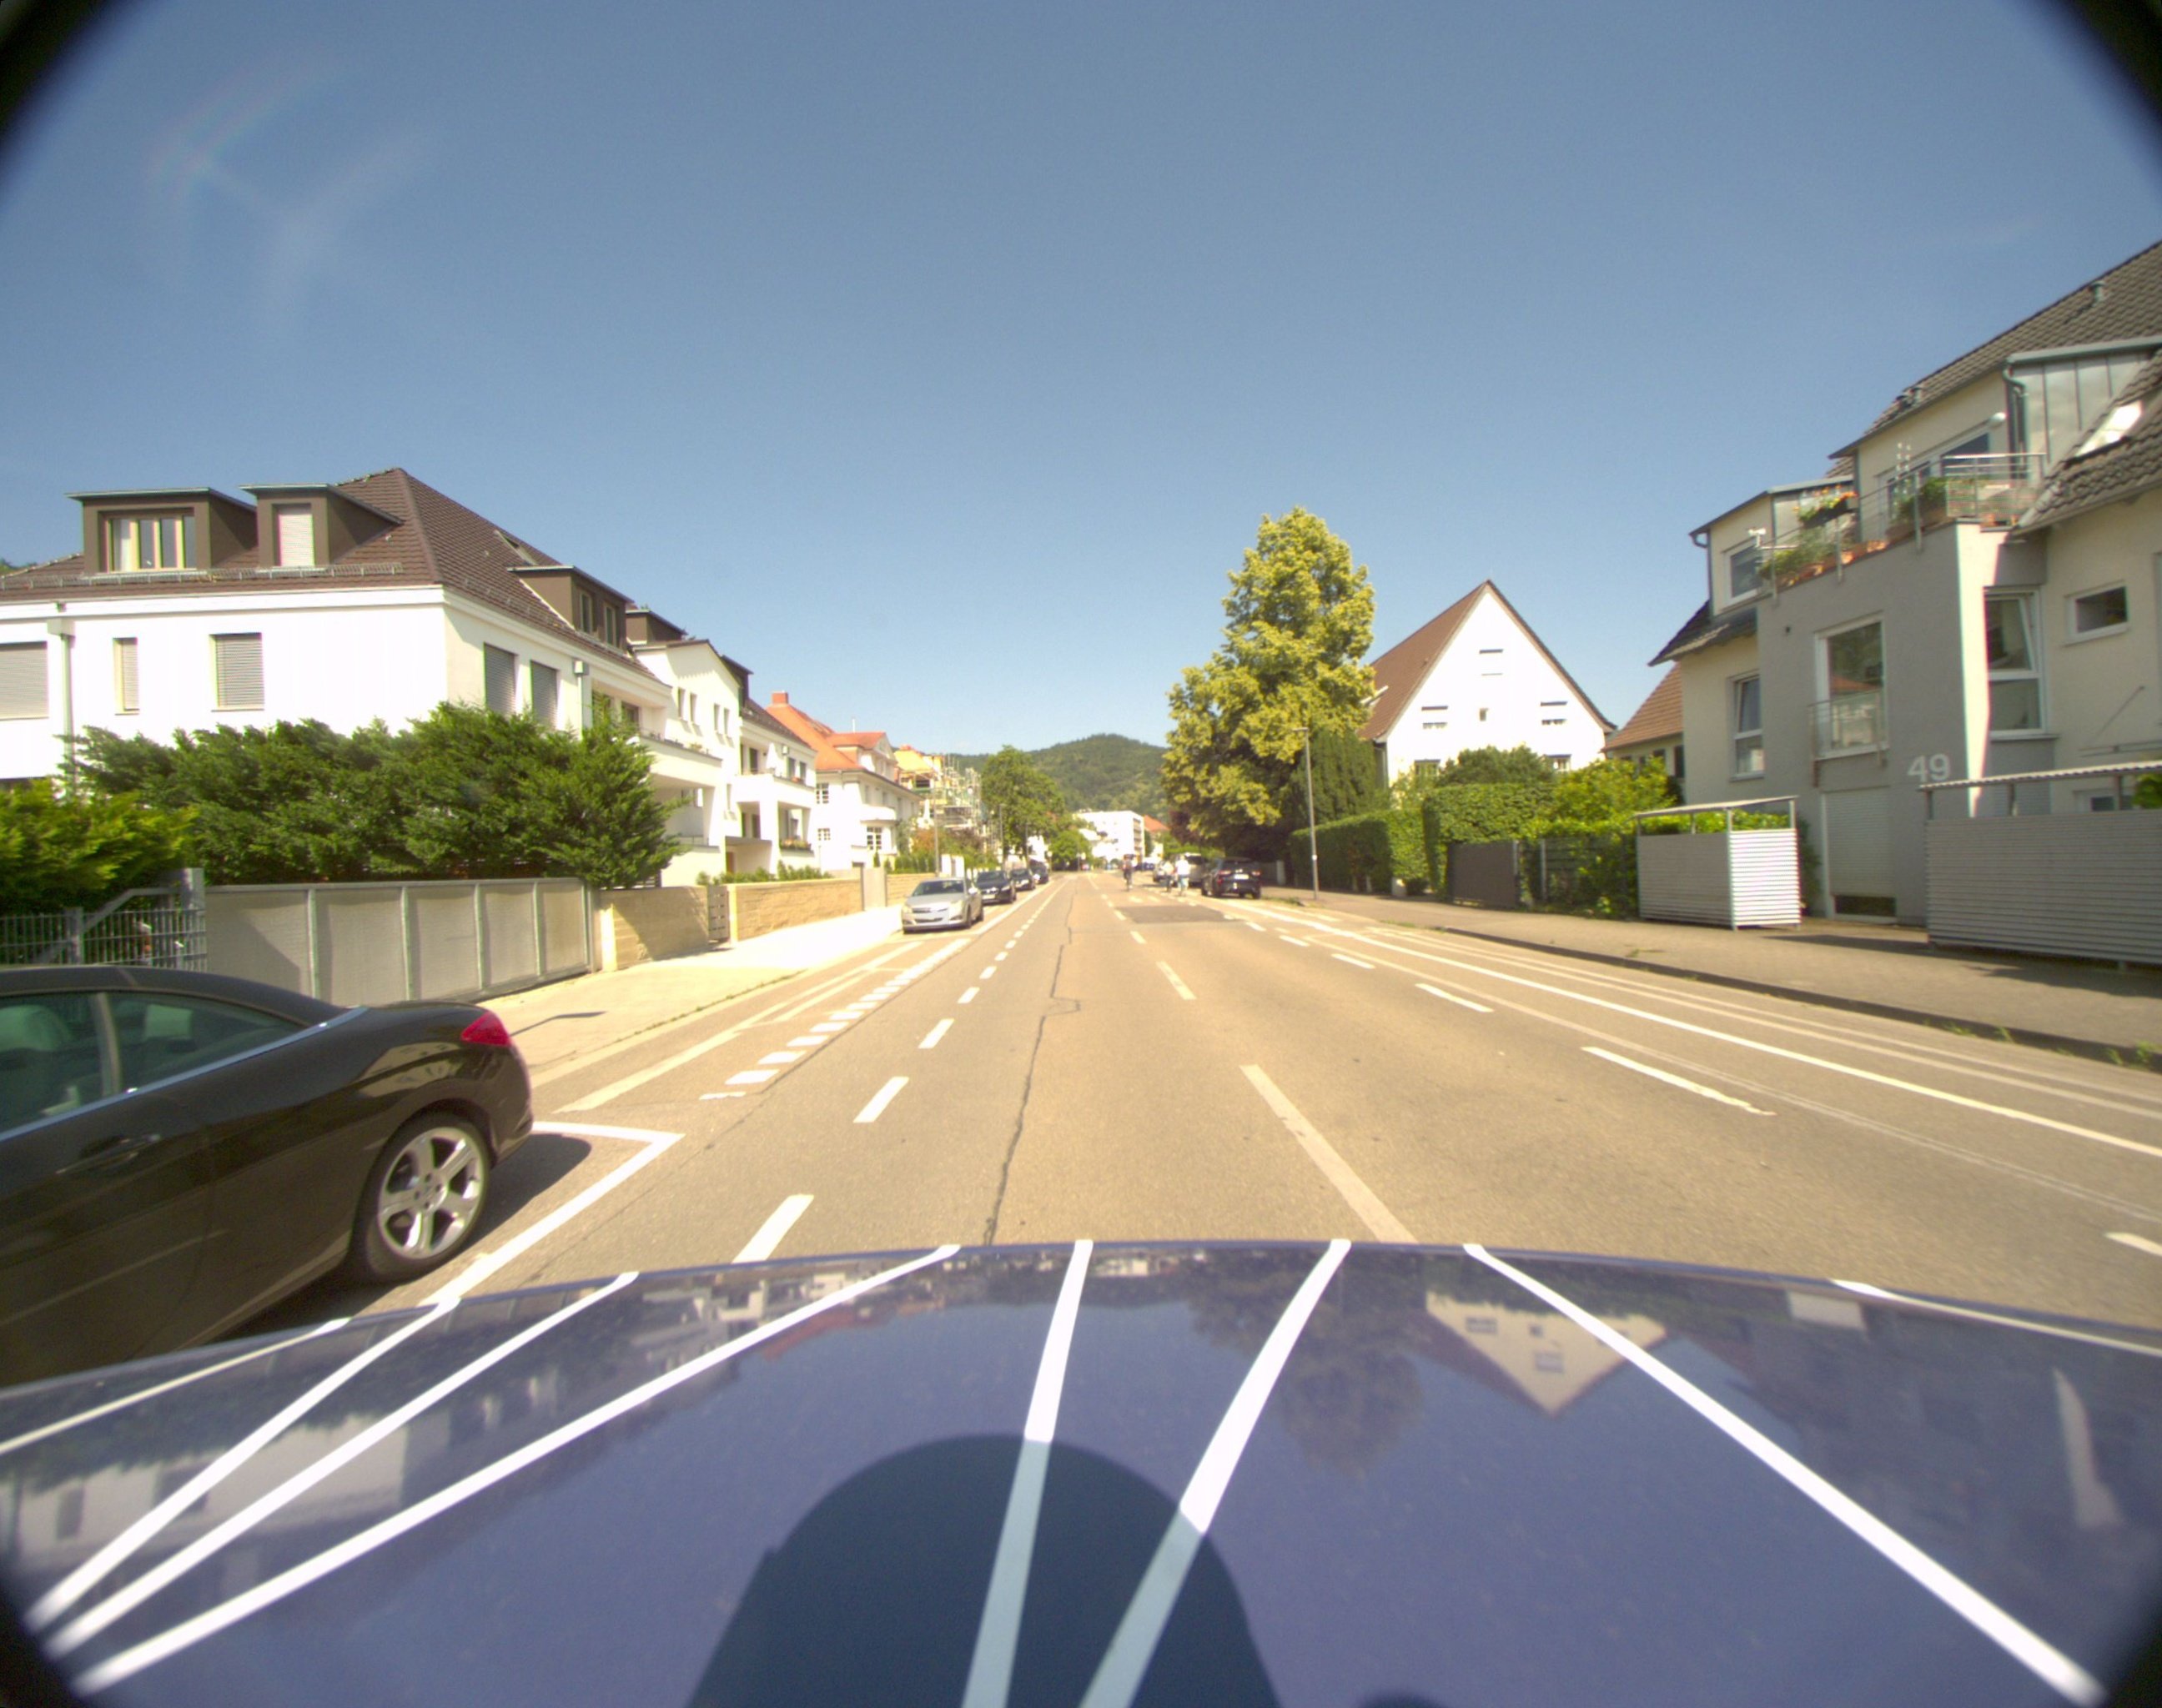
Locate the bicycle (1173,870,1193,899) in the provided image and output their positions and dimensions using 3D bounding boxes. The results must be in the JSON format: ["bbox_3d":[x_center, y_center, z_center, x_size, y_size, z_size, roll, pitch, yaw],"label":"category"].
[{"bbox_3d":[4.308,1.269,32.275,0.560,1.178,2.036,0,0,0],"label":"bicycle"}]

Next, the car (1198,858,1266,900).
[{"bbox_3d":[6.102,0.980,31.183,1.855,1.601,4.448,0,0,-1],"label":"car"}]

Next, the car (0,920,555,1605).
[{"bbox_3d":[-3.501,1.141,1.575,1.741,1.460,4.344,-5,0,-1],"label":"car"}]

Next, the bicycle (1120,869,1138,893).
[{"bbox_3d":[2.434,1.386,39.024,0.784,1.159,2.420,0,0,0],"label":"bicycle"}]

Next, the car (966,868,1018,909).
[{"bbox_3d":[-3.697,1.400,32.210,1.727,1.440,4.168,-5,0,-2],"label":"car"}]

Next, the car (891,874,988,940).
[{"bbox_3d":[-3.706,1.344,20.611,1.741,1.321,4.075,-5,1,0],"label":"car"}]

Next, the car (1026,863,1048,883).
[{"bbox_3d":[-3.617,1.531,62.557,1.701,1.573,4.900,-3,0,-3],"label":"car"}]

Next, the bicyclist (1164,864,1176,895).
[{"bbox_3d":[4.259,1.223,36.487,0.491,1.445,0.964,0,0,0],"label":"bicyclist"}]

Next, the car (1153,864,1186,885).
[{"bbox_3d":[6.269,1.445,54.521,1.838,1.476,4.562,0,-1,0],"label":"car"}]

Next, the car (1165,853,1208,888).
[{"bbox_3d":[6.089,0.963,44.373,1.889,1.908,4.869,0,-1,0],"label":"car"}]

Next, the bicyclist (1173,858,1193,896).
[{"bbox_3d":[4.276,0.948,31.962,0.677,1.571,0.859,2,0,0],"label":"bicyclist"}]

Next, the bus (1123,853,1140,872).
[{"bbox_3d":[8.783,1.474,131.779,2.751,3.155,9.782,0,-1,4],"label":"bus"}]

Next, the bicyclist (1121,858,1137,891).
[{"bbox_3d":[2.448,1.035,39.049,0.751,1.658,1.022,0,0,0],"label":"bicyclist"}]

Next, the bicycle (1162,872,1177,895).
[{"bbox_3d":[4.247,1.412,36.548,0.602,1.098,1.346,0,0,0],"label":"bicycle"}]

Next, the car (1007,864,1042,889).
[{"bbox_3d":[-3.565,1.420,48.524,1.623,1.440,4.002,-2,0,5],"label":"car"}]
